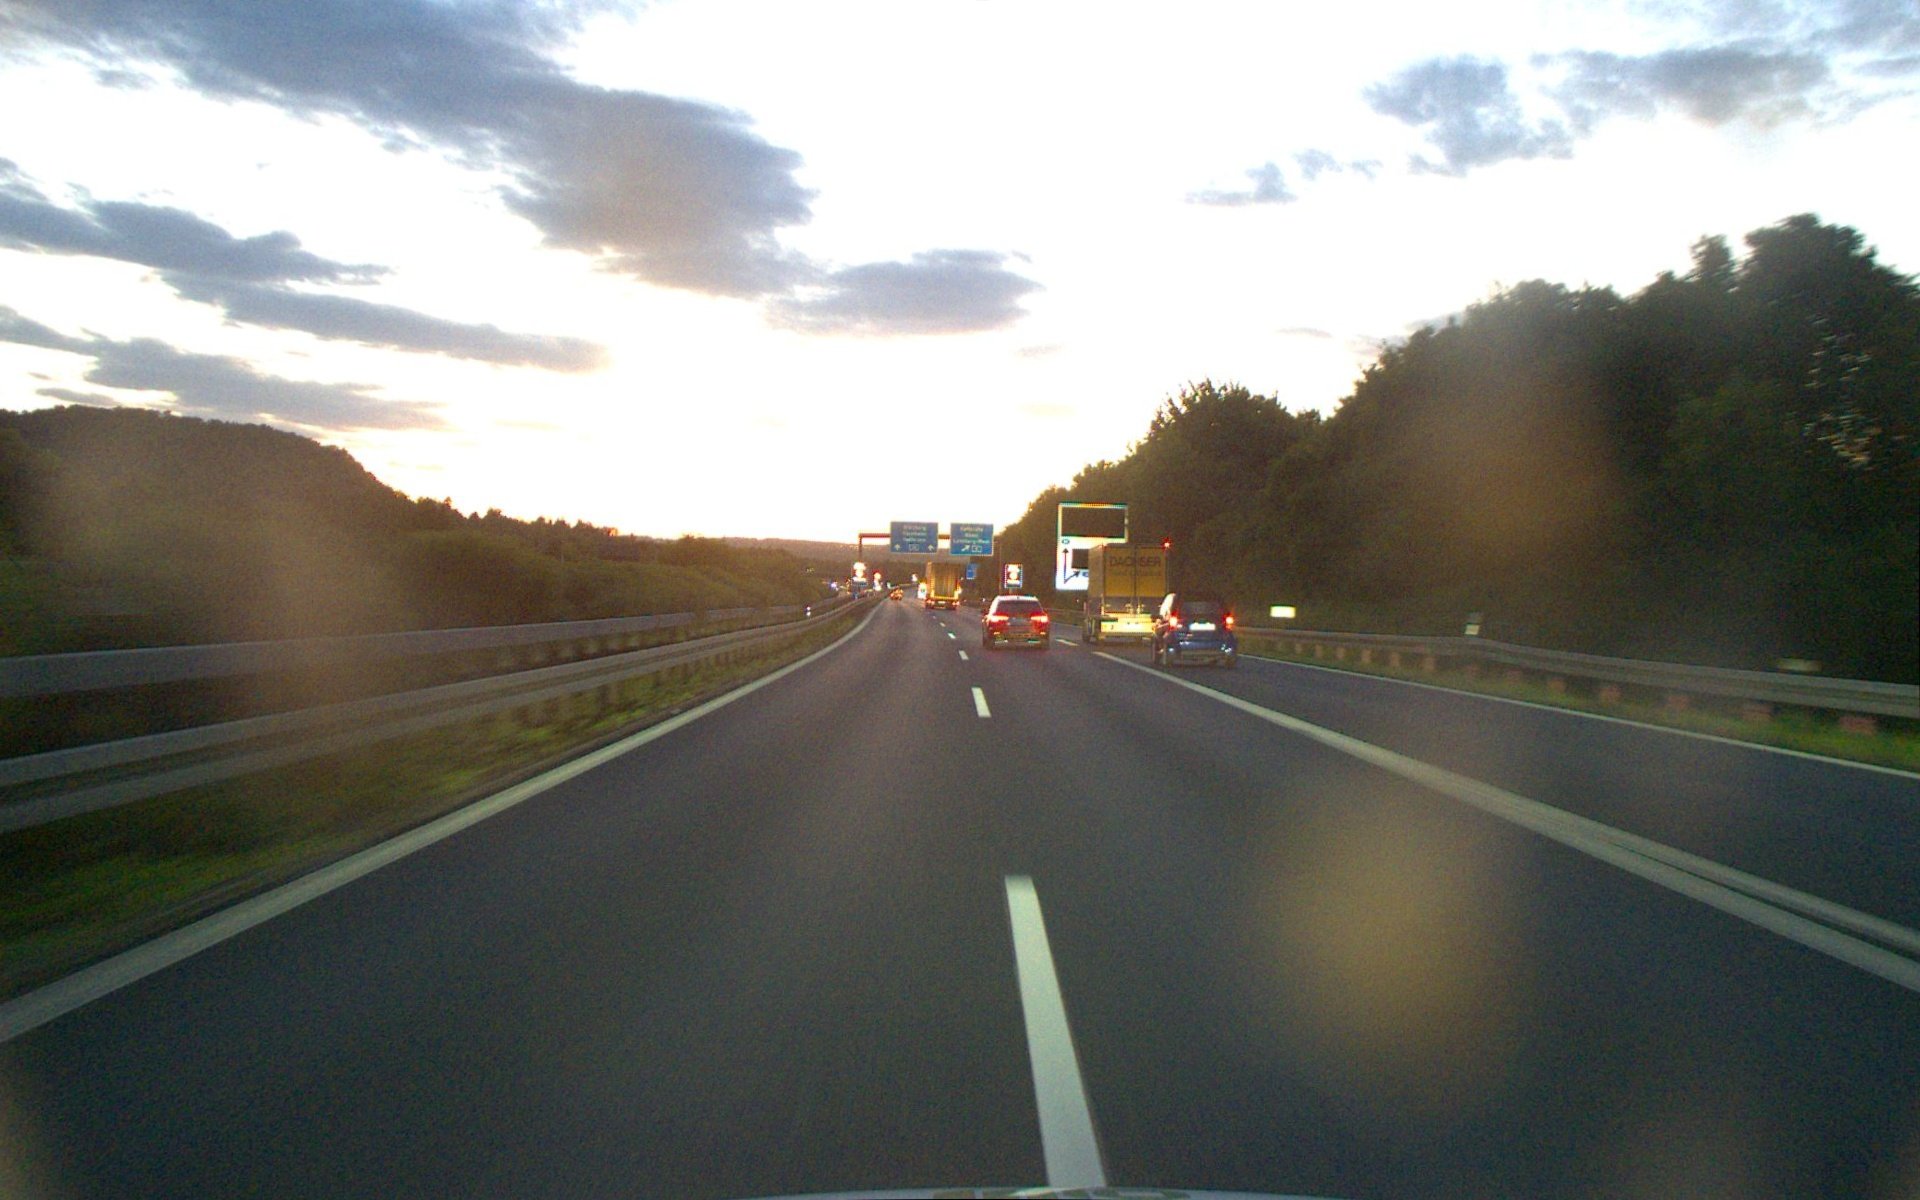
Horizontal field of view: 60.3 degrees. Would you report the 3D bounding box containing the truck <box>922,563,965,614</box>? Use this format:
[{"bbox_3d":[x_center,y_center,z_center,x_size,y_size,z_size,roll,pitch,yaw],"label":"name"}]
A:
[{"bbox_3d":[-1.566,-0.983,149.560,3.440,4.376,9.885,1,0,-3],"label":"truck"}]

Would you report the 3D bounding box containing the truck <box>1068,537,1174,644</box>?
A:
[{"bbox_3d":[4.968,-0.292,52.039,2.223,3.023,6.628,3,0,-3],"label":"truck"}]

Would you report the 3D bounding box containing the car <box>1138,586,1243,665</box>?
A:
[{"bbox_3d":[4.887,0.523,35.442,1.579,1.583,3.316,1,0,-4],"label":"car"}]

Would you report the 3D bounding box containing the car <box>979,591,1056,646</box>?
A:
[{"bbox_3d":[1.584,0.501,46.968,1.877,1.467,3.998,1,0,-2],"label":"car"}]
